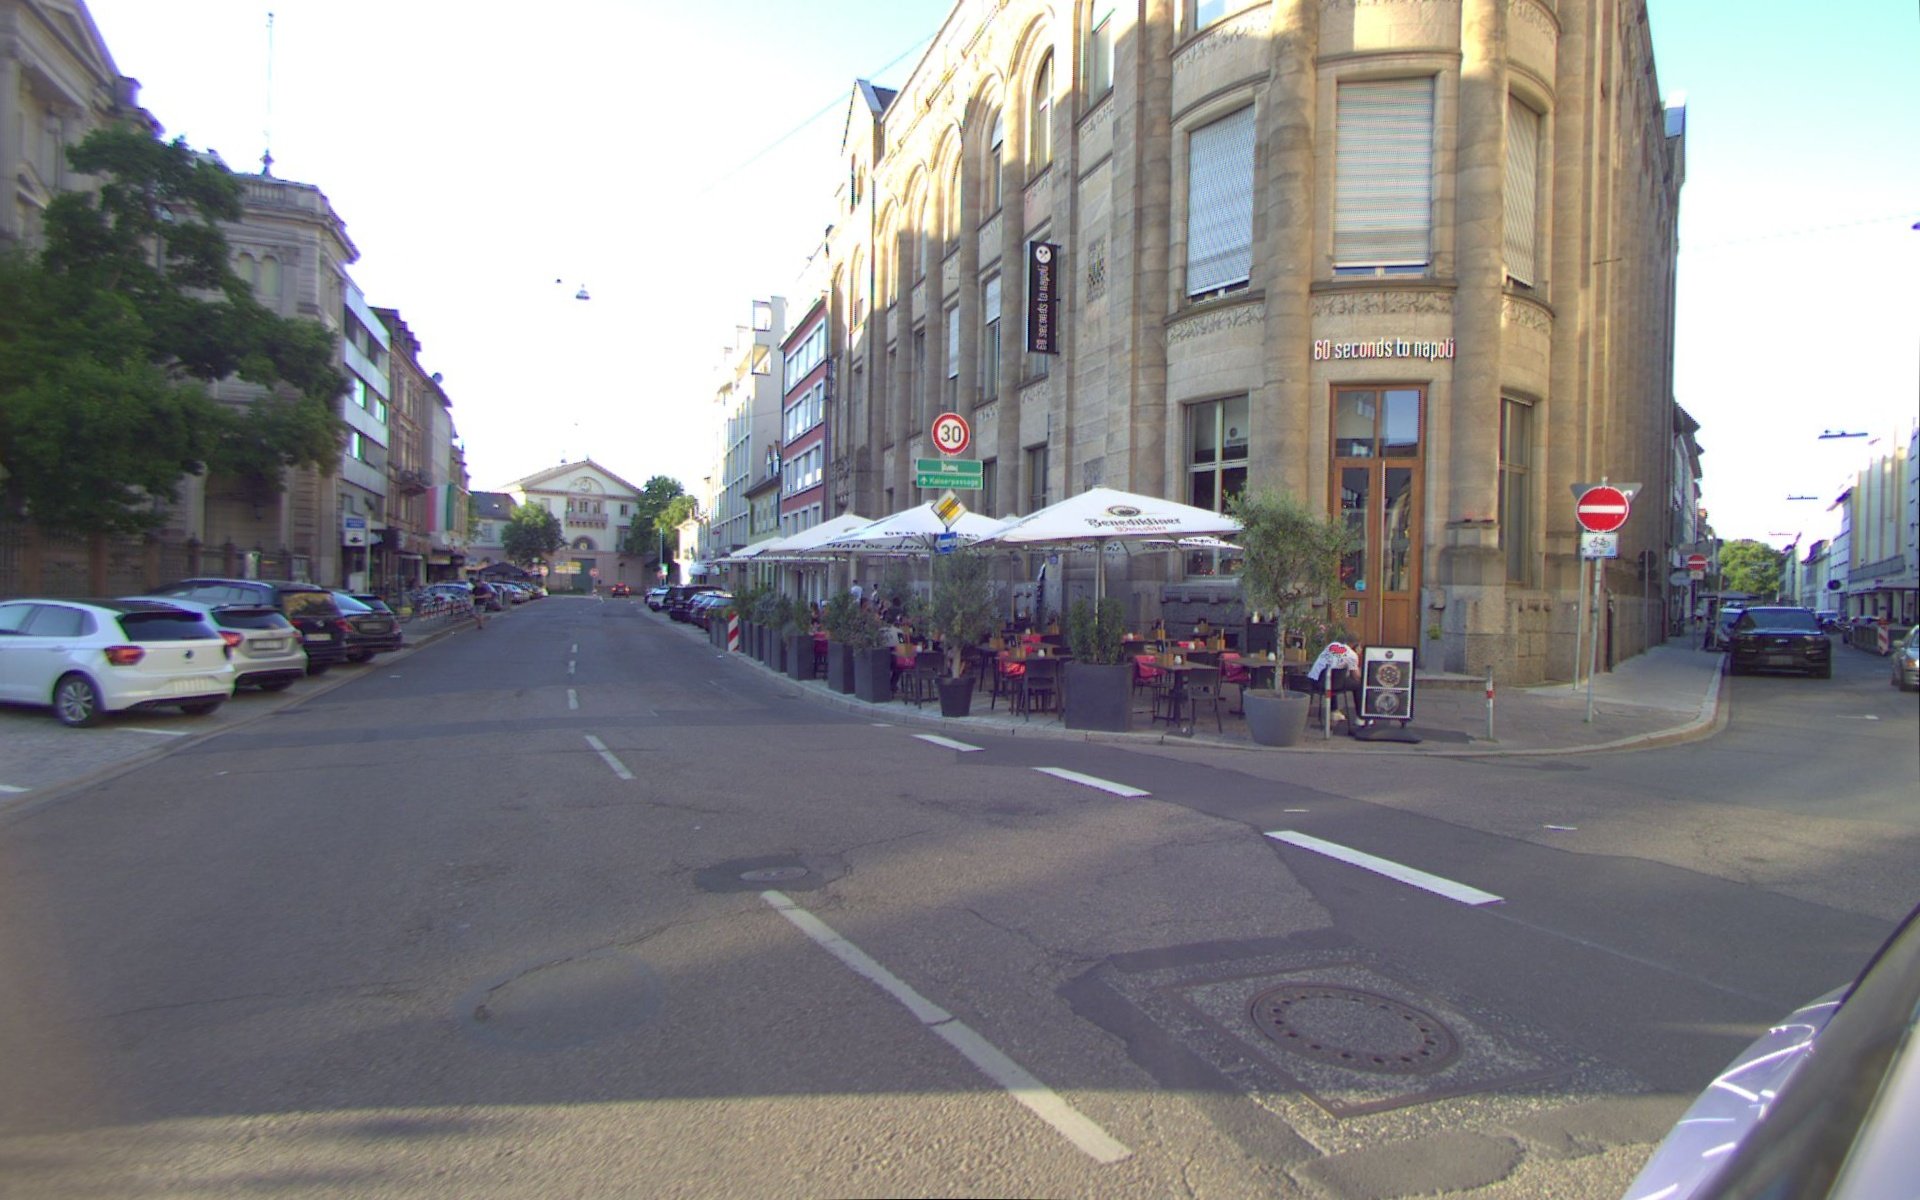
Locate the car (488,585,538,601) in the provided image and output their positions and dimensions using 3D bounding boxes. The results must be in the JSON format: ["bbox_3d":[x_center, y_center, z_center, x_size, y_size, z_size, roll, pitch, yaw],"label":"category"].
[{"bbox_3d":[-39.579,-0.648,89.664,3.916,1.430,1.759,0,1,-20],"label":"car"}]

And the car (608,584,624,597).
[{"bbox_3d":[-39.719,-1.093,116.914,1.718,1.430,4.009,0,1,-19],"label":"car"}]

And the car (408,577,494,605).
[{"bbox_3d":[-27.008,-0.494,53.855,3.916,1.430,1.759,0,1,-20],"label":"car"}]

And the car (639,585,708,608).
[{"bbox_3d":[-18.013,-0.233,63.766,1.745,1.430,4.023,1,1,36],"label":"car"}]

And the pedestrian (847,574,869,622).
[{"bbox_3d":[-3.784,-0.074,37.555,0.616,1.752,0.598,0,1,-26],"label":"pedestrian"}]

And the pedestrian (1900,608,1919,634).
[{"bbox_3d":[40.716,0.899,43.283,0.607,1.076,0.542,0,0,31],"label":"pedestrian"}]

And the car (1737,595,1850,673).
[{"bbox_3d":[21.610,0.810,26.409,1.988,1.805,4.869,1,1,37],"label":"car"}]

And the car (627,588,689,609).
[{"bbox_3d":[-21.222,-0.104,71.167,1.745,1.430,3.958,1,1,36],"label":"car"}]

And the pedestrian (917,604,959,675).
[{"bbox_3d":[-0.402,0.712,18.485,0.588,1.261,0.687,1,0,-17],"label":"pedestrian"}]

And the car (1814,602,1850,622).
[{"bbox_3d":[71.937,0.973,83.571,1.989,1.489,4.397,1,1,38],"label":"car"}]

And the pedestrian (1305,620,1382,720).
[{"bbox_3d":[4.924,0.876,12.999,0.807,1.203,0.607,1,0,-41],"label":"pedestrian"}]

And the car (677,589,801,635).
[{"bbox_3d":[-7.513,0.361,34.673,1.745,1.430,4.016,1,1,36],"label":"car"}]

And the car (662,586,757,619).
[{"bbox_3d":[-11.324,0.084,46.004,1.745,1.430,4.053,1,1,36],"label":"car"}]

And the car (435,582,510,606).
[{"bbox_3d":[-29.235,-0.374,60.812,3.916,1.430,1.759,0,1,-20],"label":"car"}]

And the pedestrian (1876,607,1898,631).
[{"bbox_3d":[42.824,0.853,46.768,0.629,1.081,0.554,0,0,31],"label":"pedestrian"}]

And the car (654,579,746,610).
[{"bbox_3d":[-12.454,-0.289,48.652,1.745,1.430,4.145,1,1,36],"label":"car"}]

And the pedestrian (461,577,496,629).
[{"bbox_3d":[-16.906,0.103,35.561,0.953,1.772,1.005,1,0,-18],"label":"pedestrian"}]

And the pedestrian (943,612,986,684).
[{"bbox_3d":[0.073,0.810,17.374,0.588,1.203,0.574,1,0,-17],"label":"pedestrian"}]

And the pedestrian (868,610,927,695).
[{"bbox_3d":[-0.962,0.794,15.597,0.680,1.261,0.594,1,0,30],"label":"pedestrian"}]

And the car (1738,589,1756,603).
[{"bbox_3d":[114.350,-0.552,147.071,1.989,1.919,4.397,1,0,38],"label":"car"}]

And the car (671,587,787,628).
[{"bbox_3d":[-8.621,0.249,38.023,1.745,1.430,4.128,1,1,36],"label":"car"}]

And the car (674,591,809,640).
[{"bbox_3d":[-6.833,0.429,31.944,1.745,1.430,4.053,1,1,36],"label":"car"}]

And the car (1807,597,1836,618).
[{"bbox_3d":[85.598,0.728,100.596,1.989,2.067,4.397,1,0,38],"label":"car"}]

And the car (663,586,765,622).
[{"bbox_3d":[-10.424,0.129,43.158,1.745,1.430,4.091,1,1,36],"label":"car"}]

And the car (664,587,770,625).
[{"bbox_3d":[-9.725,0.206,40.754,1.745,1.430,3.978,1,1,36],"label":"car"}]

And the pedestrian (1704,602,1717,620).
[{"bbox_3d":[53.465,0.750,72.101,0.733,1.258,0.637,0,0,40],"label":"pedestrian"}]

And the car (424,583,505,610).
[{"bbox_3d":[-27.854,-0.215,57.032,3.916,1.430,1.759,0,1,-20],"label":"car"}]

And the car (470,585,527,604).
[{"bbox_3d":[-35.453,-0.460,77.842,3.916,1.430,1.759,0,1,-20],"label":"car"}]

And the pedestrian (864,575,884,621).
[{"bbox_3d":[-3.325,-0.072,39.108,0.585,1.752,0.630,0,1,-24],"label":"pedestrian"}]

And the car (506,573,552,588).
[{"bbox_3d":[-51.036,-2.267,119.928,4.784,1.757,1.754,-1,1,-39],"label":"car"}]

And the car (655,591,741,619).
[{"bbox_3d":[-13.810,0.235,53.505,1.904,1.430,4.145,1,1,36],"label":"car"}]

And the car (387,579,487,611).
[{"bbox_3d":[-24.169,-0.228,46.898,3.916,1.430,1.759,0,1,-20],"label":"car"}]
